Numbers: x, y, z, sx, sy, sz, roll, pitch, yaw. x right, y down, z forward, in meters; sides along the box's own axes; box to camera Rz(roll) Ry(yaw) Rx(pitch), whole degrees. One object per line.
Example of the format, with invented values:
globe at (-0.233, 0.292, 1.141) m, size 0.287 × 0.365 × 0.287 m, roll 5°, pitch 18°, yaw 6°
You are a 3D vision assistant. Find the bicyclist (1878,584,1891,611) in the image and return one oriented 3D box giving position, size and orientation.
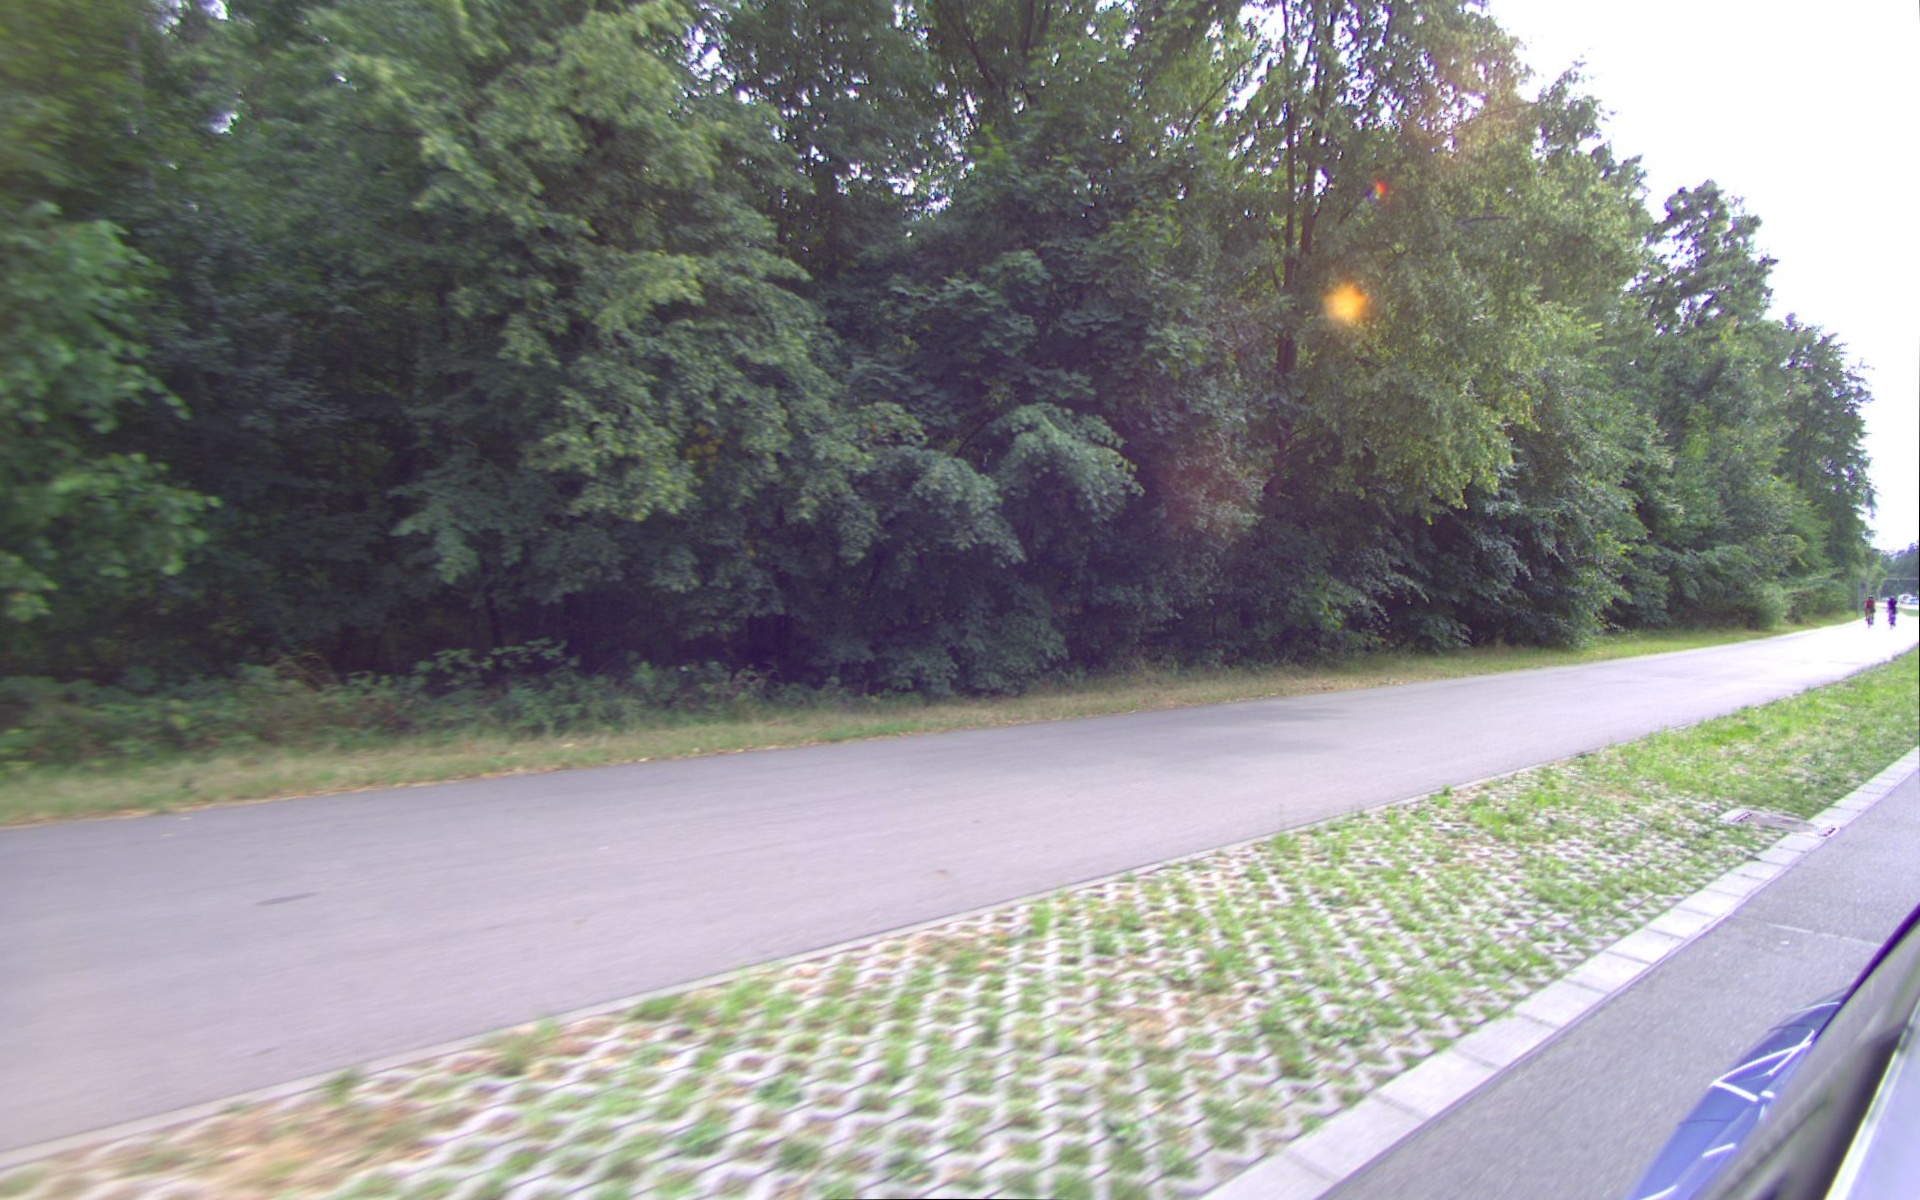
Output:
bicyclist at (49.345, -0.154, 54.022) m, size 0.519 × 1.433 × 1.168 m, roll 0°, pitch 1°, yaw 42°

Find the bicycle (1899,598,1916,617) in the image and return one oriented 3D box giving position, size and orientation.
bicycle at (50.026, 0.398, 53.436) m, size 0.566 × 0.922 × 1.728 m, roll 5°, pitch 4°, yaw 42°

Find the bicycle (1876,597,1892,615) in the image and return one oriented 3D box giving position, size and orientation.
bicycle at (49.308, 0.319, 54.006) m, size 0.566 × 0.922 × 1.858 m, roll 6°, pitch 3°, yaw 42°

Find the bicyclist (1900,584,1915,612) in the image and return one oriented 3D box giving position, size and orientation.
bicyclist at (49.969, -0.110, 53.359) m, size 0.519 × 1.433 × 1.168 m, roll 2°, pitch 2°, yaw 42°
